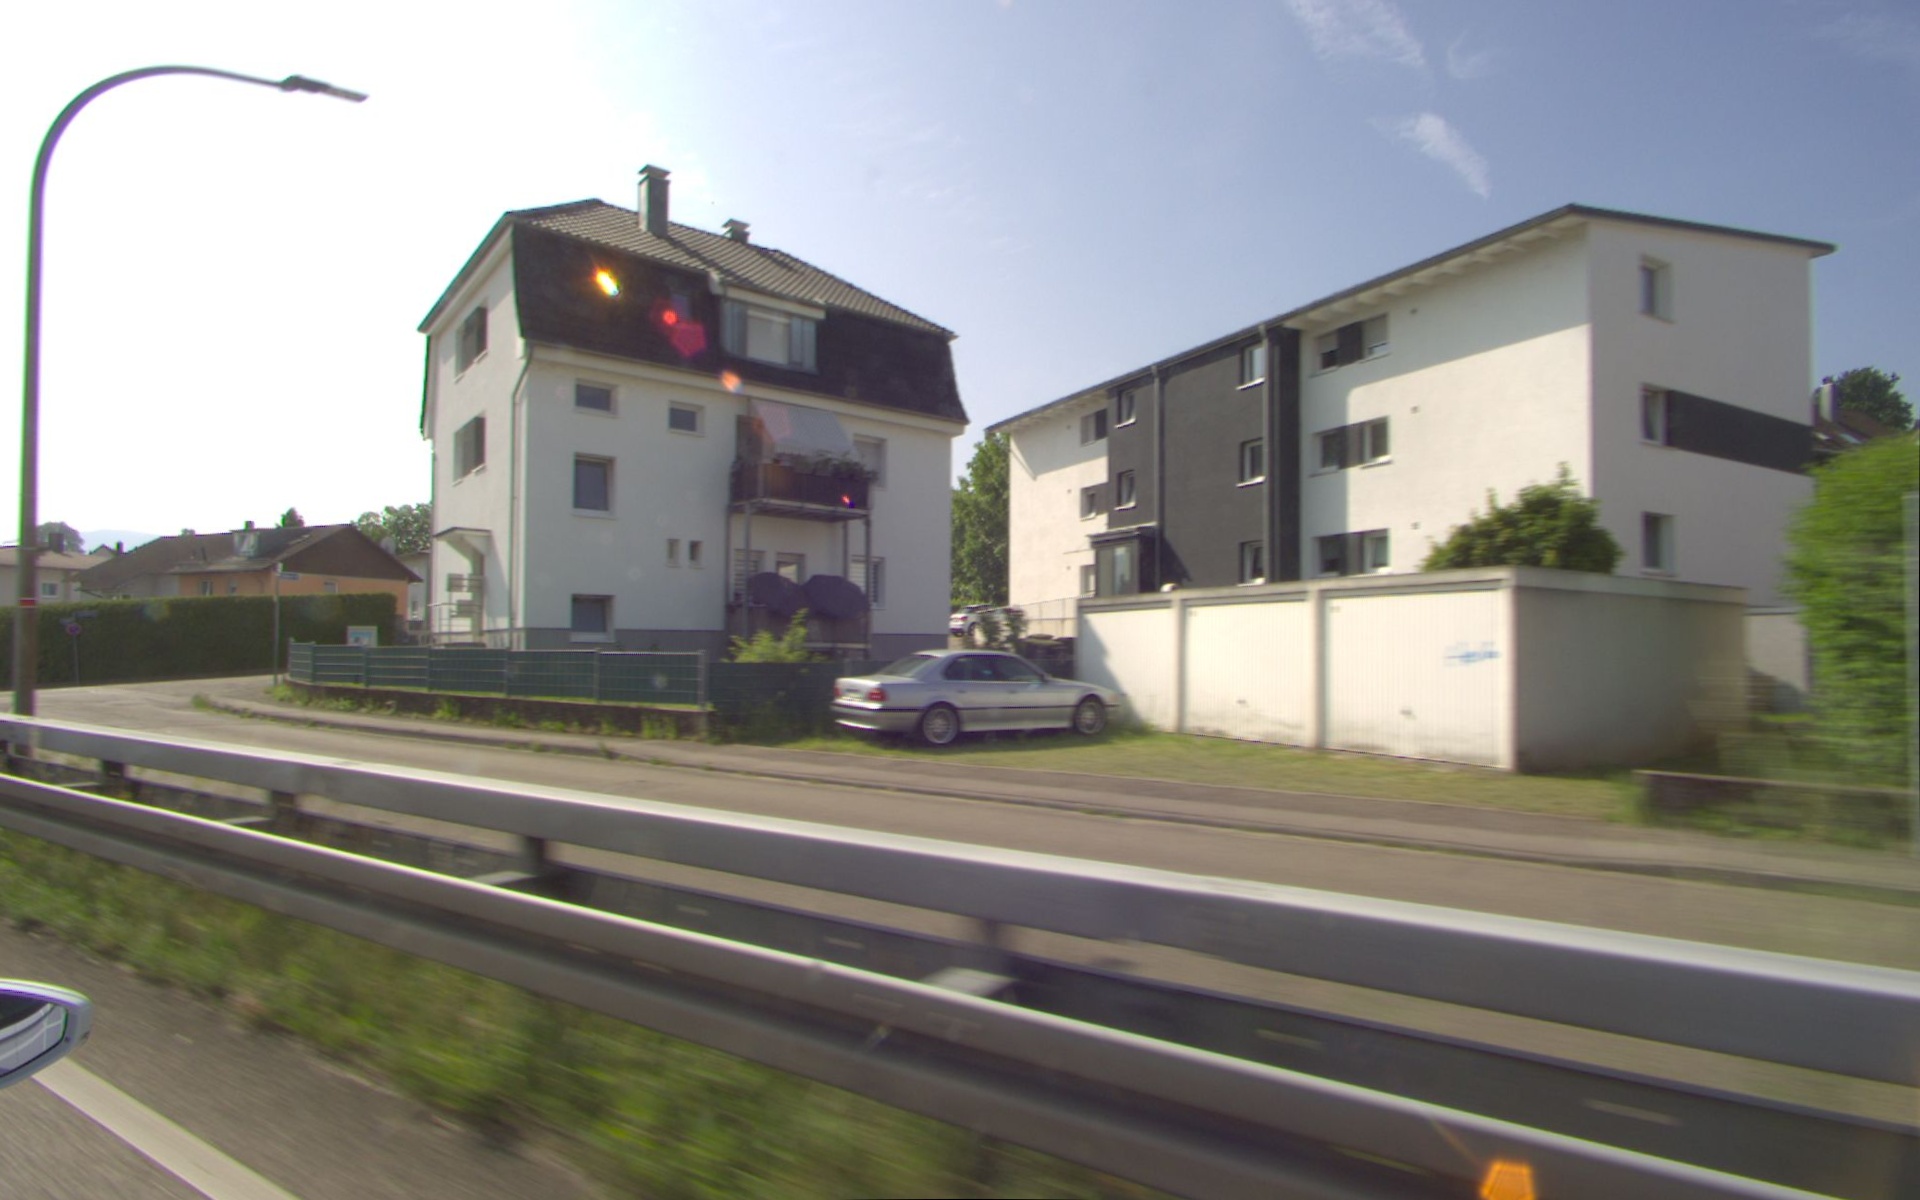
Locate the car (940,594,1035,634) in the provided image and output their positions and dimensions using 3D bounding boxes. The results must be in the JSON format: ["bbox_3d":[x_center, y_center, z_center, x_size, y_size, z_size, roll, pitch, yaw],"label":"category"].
[{"bbox_3d":[1.264,0.647,46.188,3.944,1.686,1.949,-2,0,-32],"label":"car"}]

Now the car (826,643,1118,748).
[{"bbox_3d":[0.257,1.454,16.353,4.545,1.366,1.745,0,0,-30],"label":"car"}]
